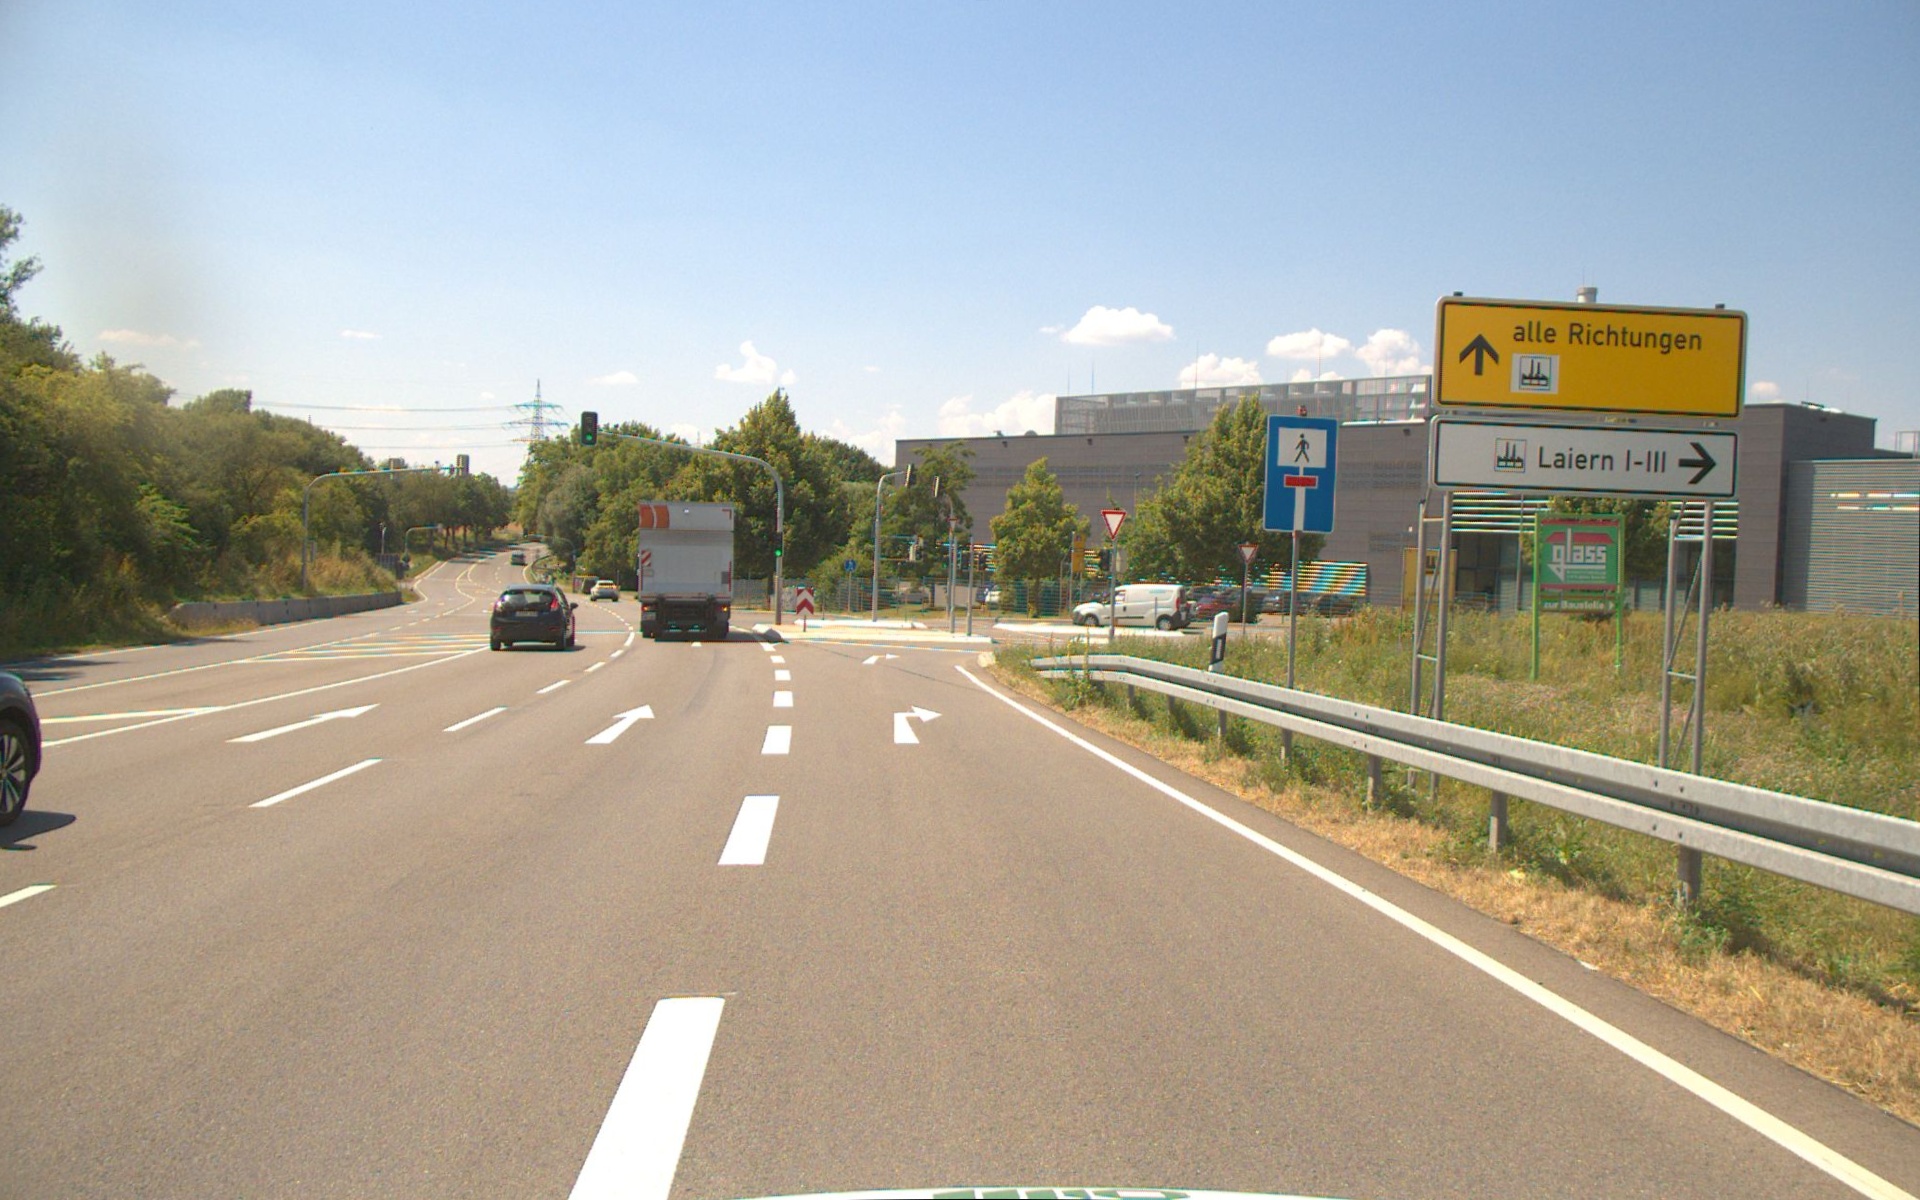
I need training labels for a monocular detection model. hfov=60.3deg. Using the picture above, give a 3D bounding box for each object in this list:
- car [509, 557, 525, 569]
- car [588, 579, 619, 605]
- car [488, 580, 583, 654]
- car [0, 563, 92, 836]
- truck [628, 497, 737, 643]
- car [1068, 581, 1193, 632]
[{"bbox_3d":[-65.053,-5.393,242.814,1.958,1.713,3.990,1,0,-11],"label":"car"},{"bbox_3d":[-26.022,-0.590,120.700,1.912,1.693,3.984,4,0,-16],"label":"car"},{"bbox_3d":[-9.914,0.359,38.877,1.621,1.519,4.202,1,2,-7],"label":"car"},{"bbox_3d":[-6.514,0.593,8.644,1.798,1.614,4.389,0,0,-3],"label":"car"},{"bbox_3d":[-8.097,-0.886,47.894,2.753,3.775,9.086,1,1,-10],"label":"truck"},{"bbox_3d":[6.882,0.249,66.698,4.645,1.966,2.155,1,0,17],"label":"car"}]
